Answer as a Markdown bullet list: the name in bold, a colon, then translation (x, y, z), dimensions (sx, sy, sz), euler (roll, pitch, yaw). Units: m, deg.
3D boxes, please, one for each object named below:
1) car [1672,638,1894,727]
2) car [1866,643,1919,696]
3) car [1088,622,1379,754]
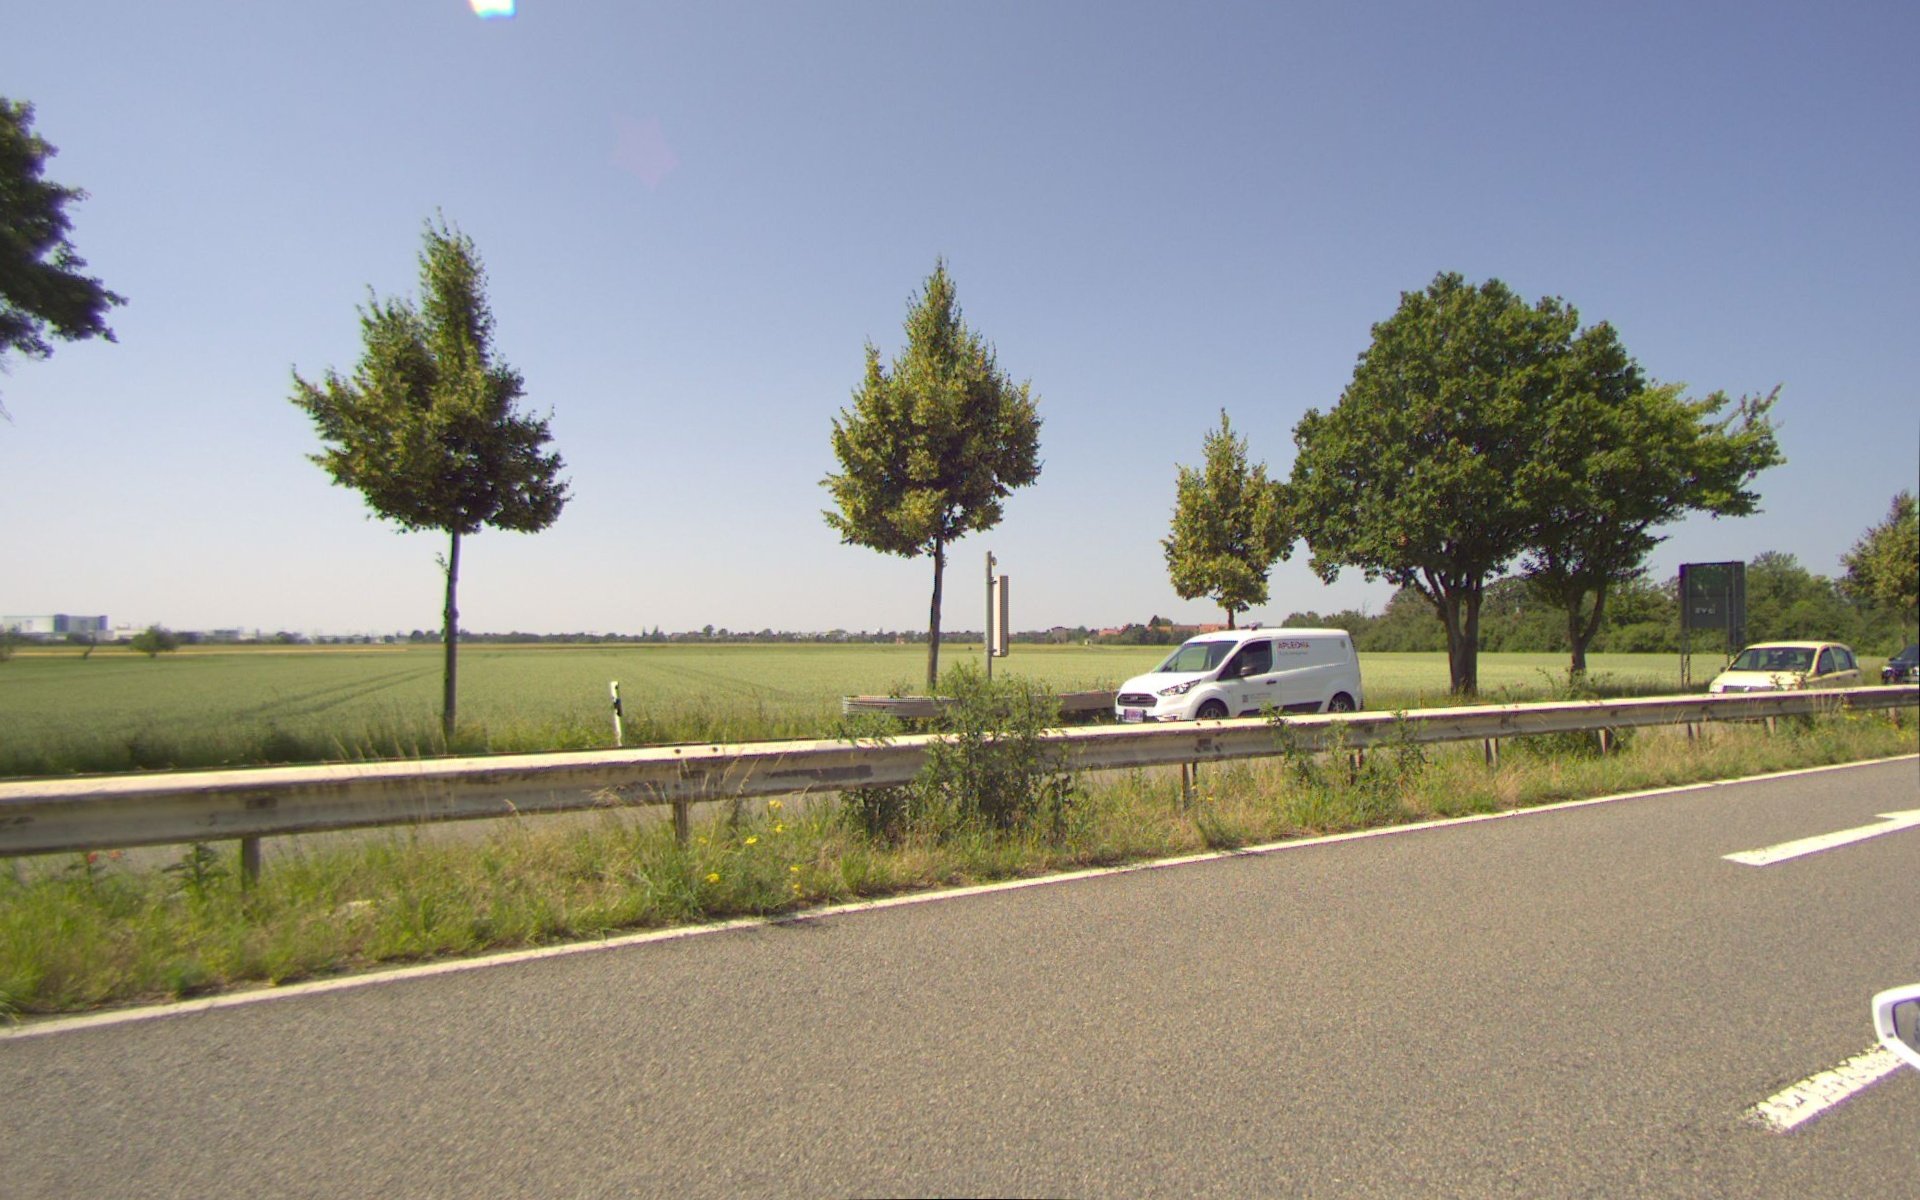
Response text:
- **car**: translation (16.356, 1.561, 19.929), dimensions (4.428, 1.577, 1.984), euler (2, -2, -30)
- **car**: translation (32.459, 2.291, 33.606), dimensions (4.429, 1.684, 1.984), euler (2, -2, -31)
- **car**: translation (4.746, 1.410, 17.221), dimensions (4.869, 1.986, 1.984), euler (2, -2, -30)
